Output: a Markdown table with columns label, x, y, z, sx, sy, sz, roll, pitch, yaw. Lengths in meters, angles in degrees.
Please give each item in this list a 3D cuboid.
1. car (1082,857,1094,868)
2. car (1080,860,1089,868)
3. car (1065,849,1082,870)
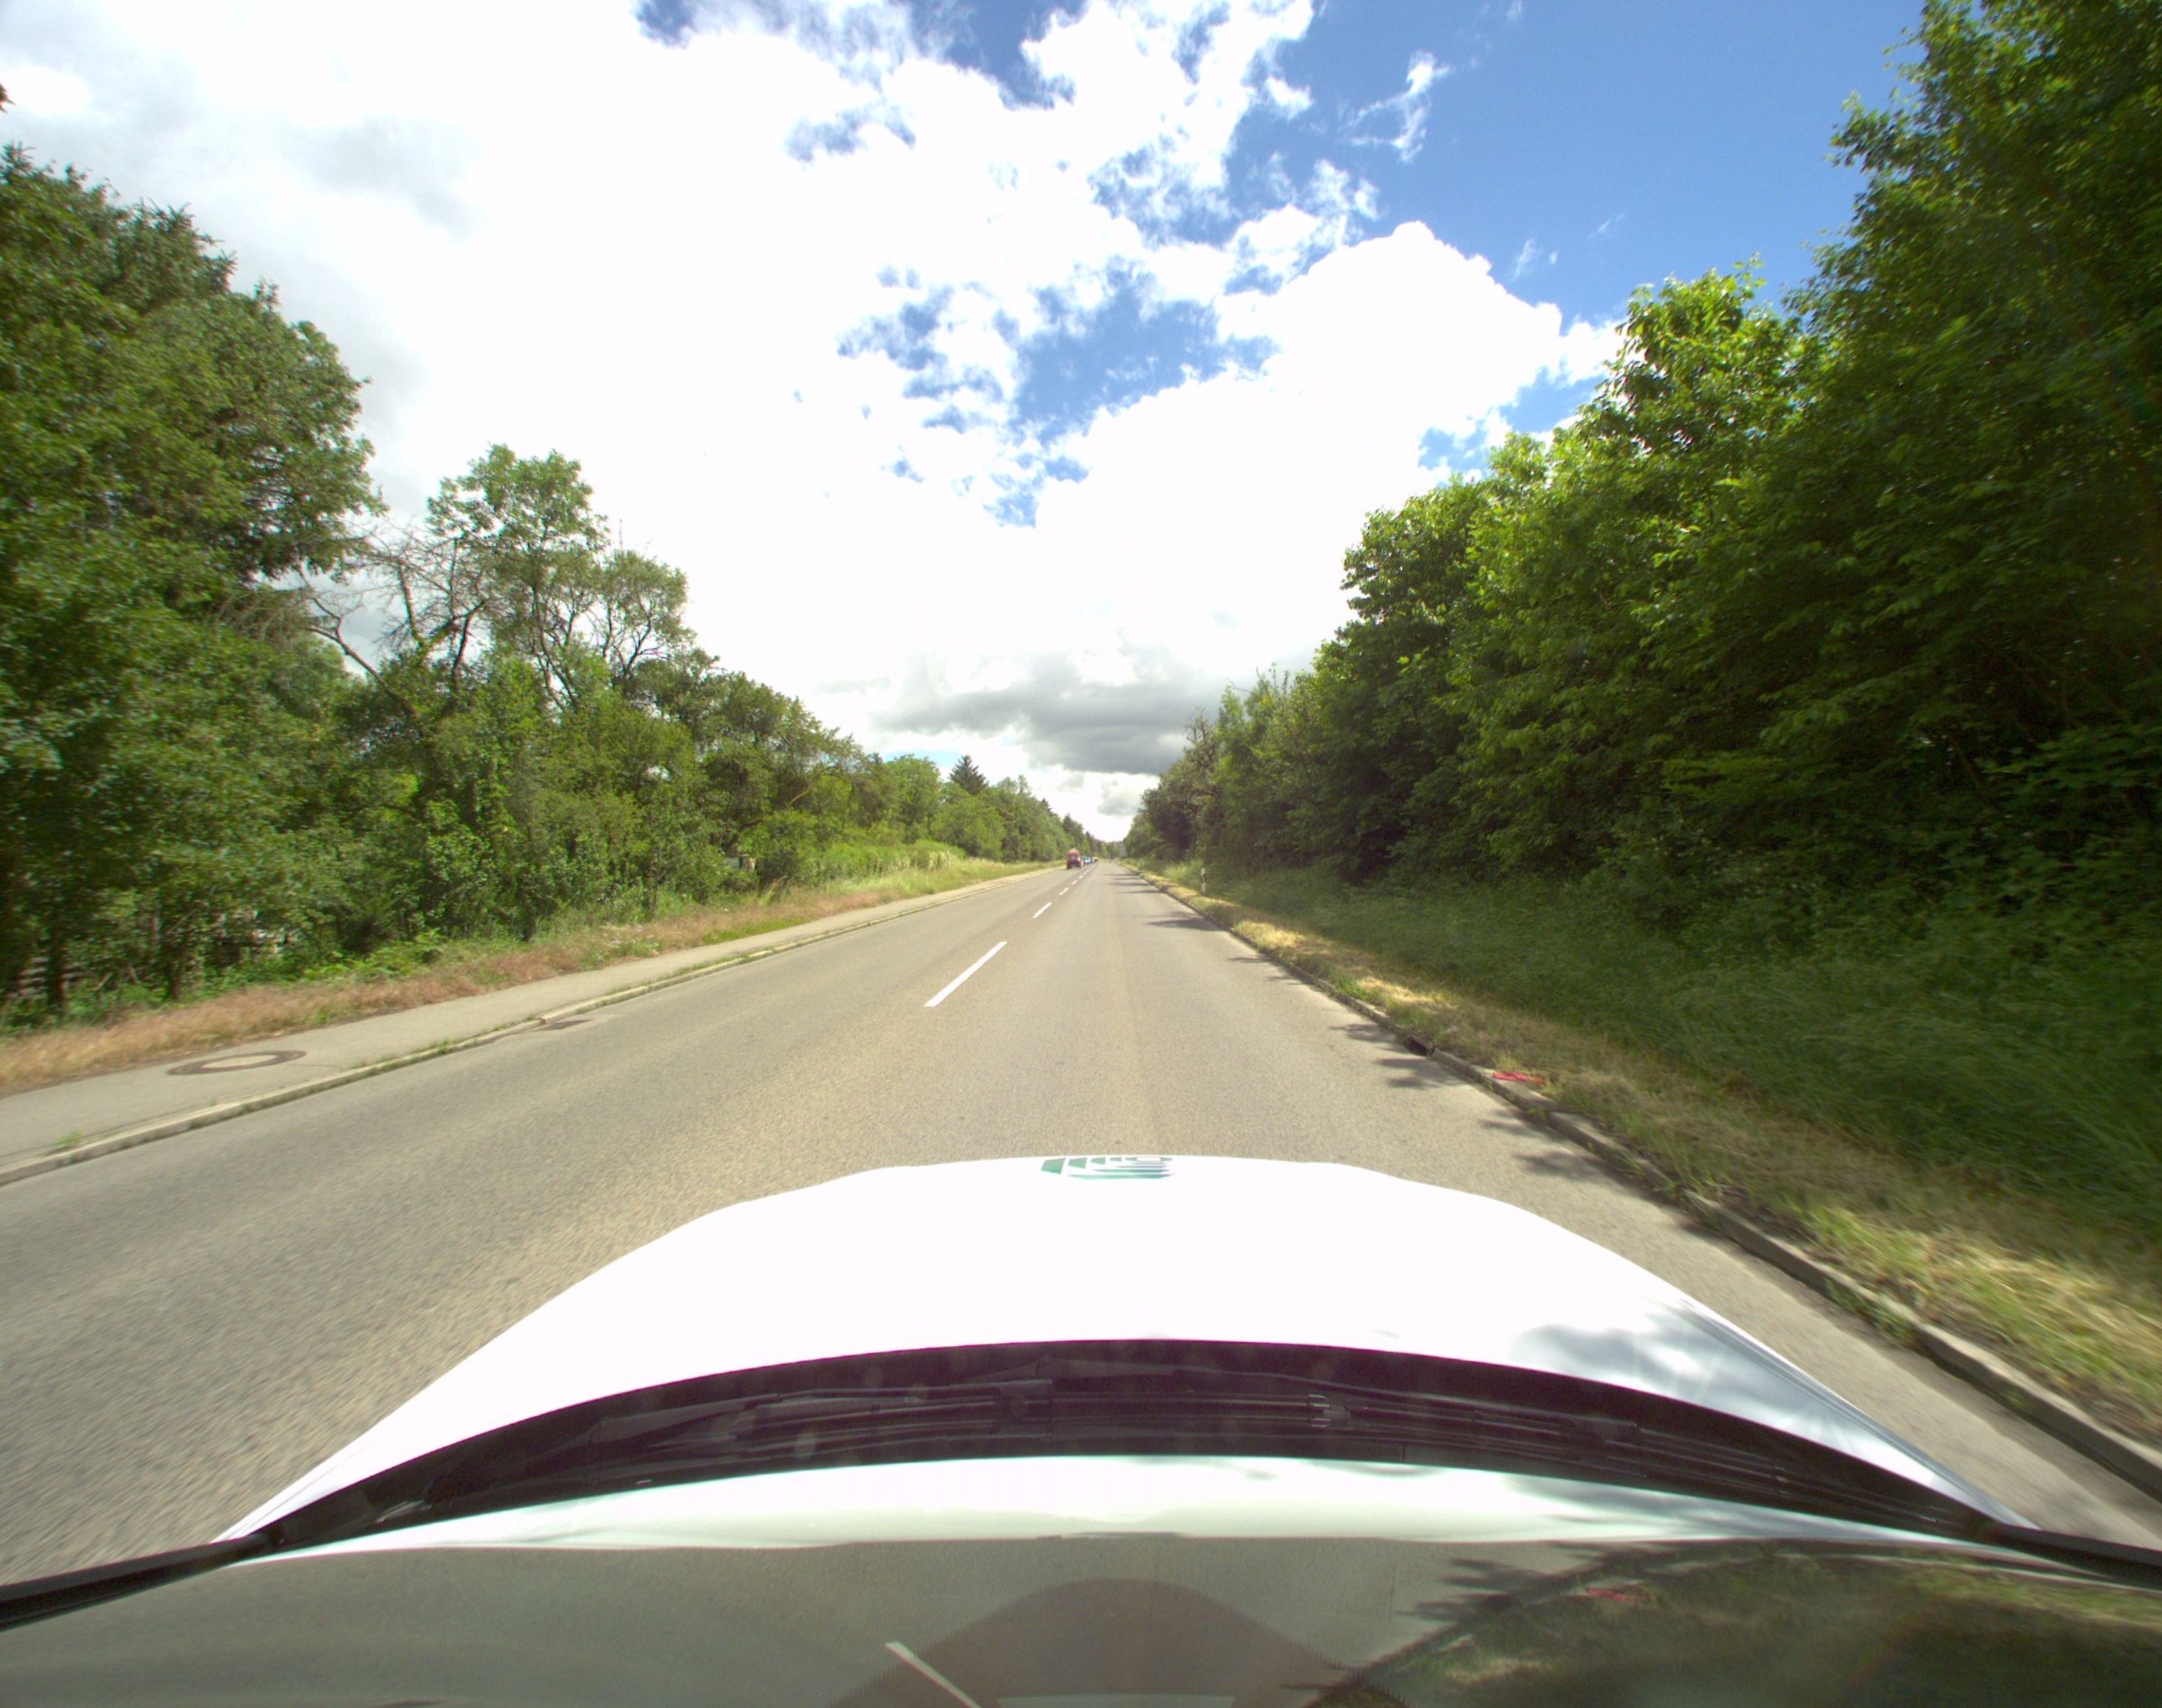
| label | x | y | z | sx | sy | sz | roll | pitch | yaw |
| --- | --- | --- | --- | --- | --- | --- | --- | --- | --- |
| car | 1.048 | 1.330 | 126.344 | 1.710 | 1.471 | 4.000 | -4 | 0 | 1 |
| car | 0.691 | 1.916 | 156.670 | 1.778 | 1.446 | 4.452 | -4 | 0 | 1 |
| car | -0.956 | 0.754 | 105.352 | 1.962 | 2.550 | 4.726 | -4 | -1 | 1 |
